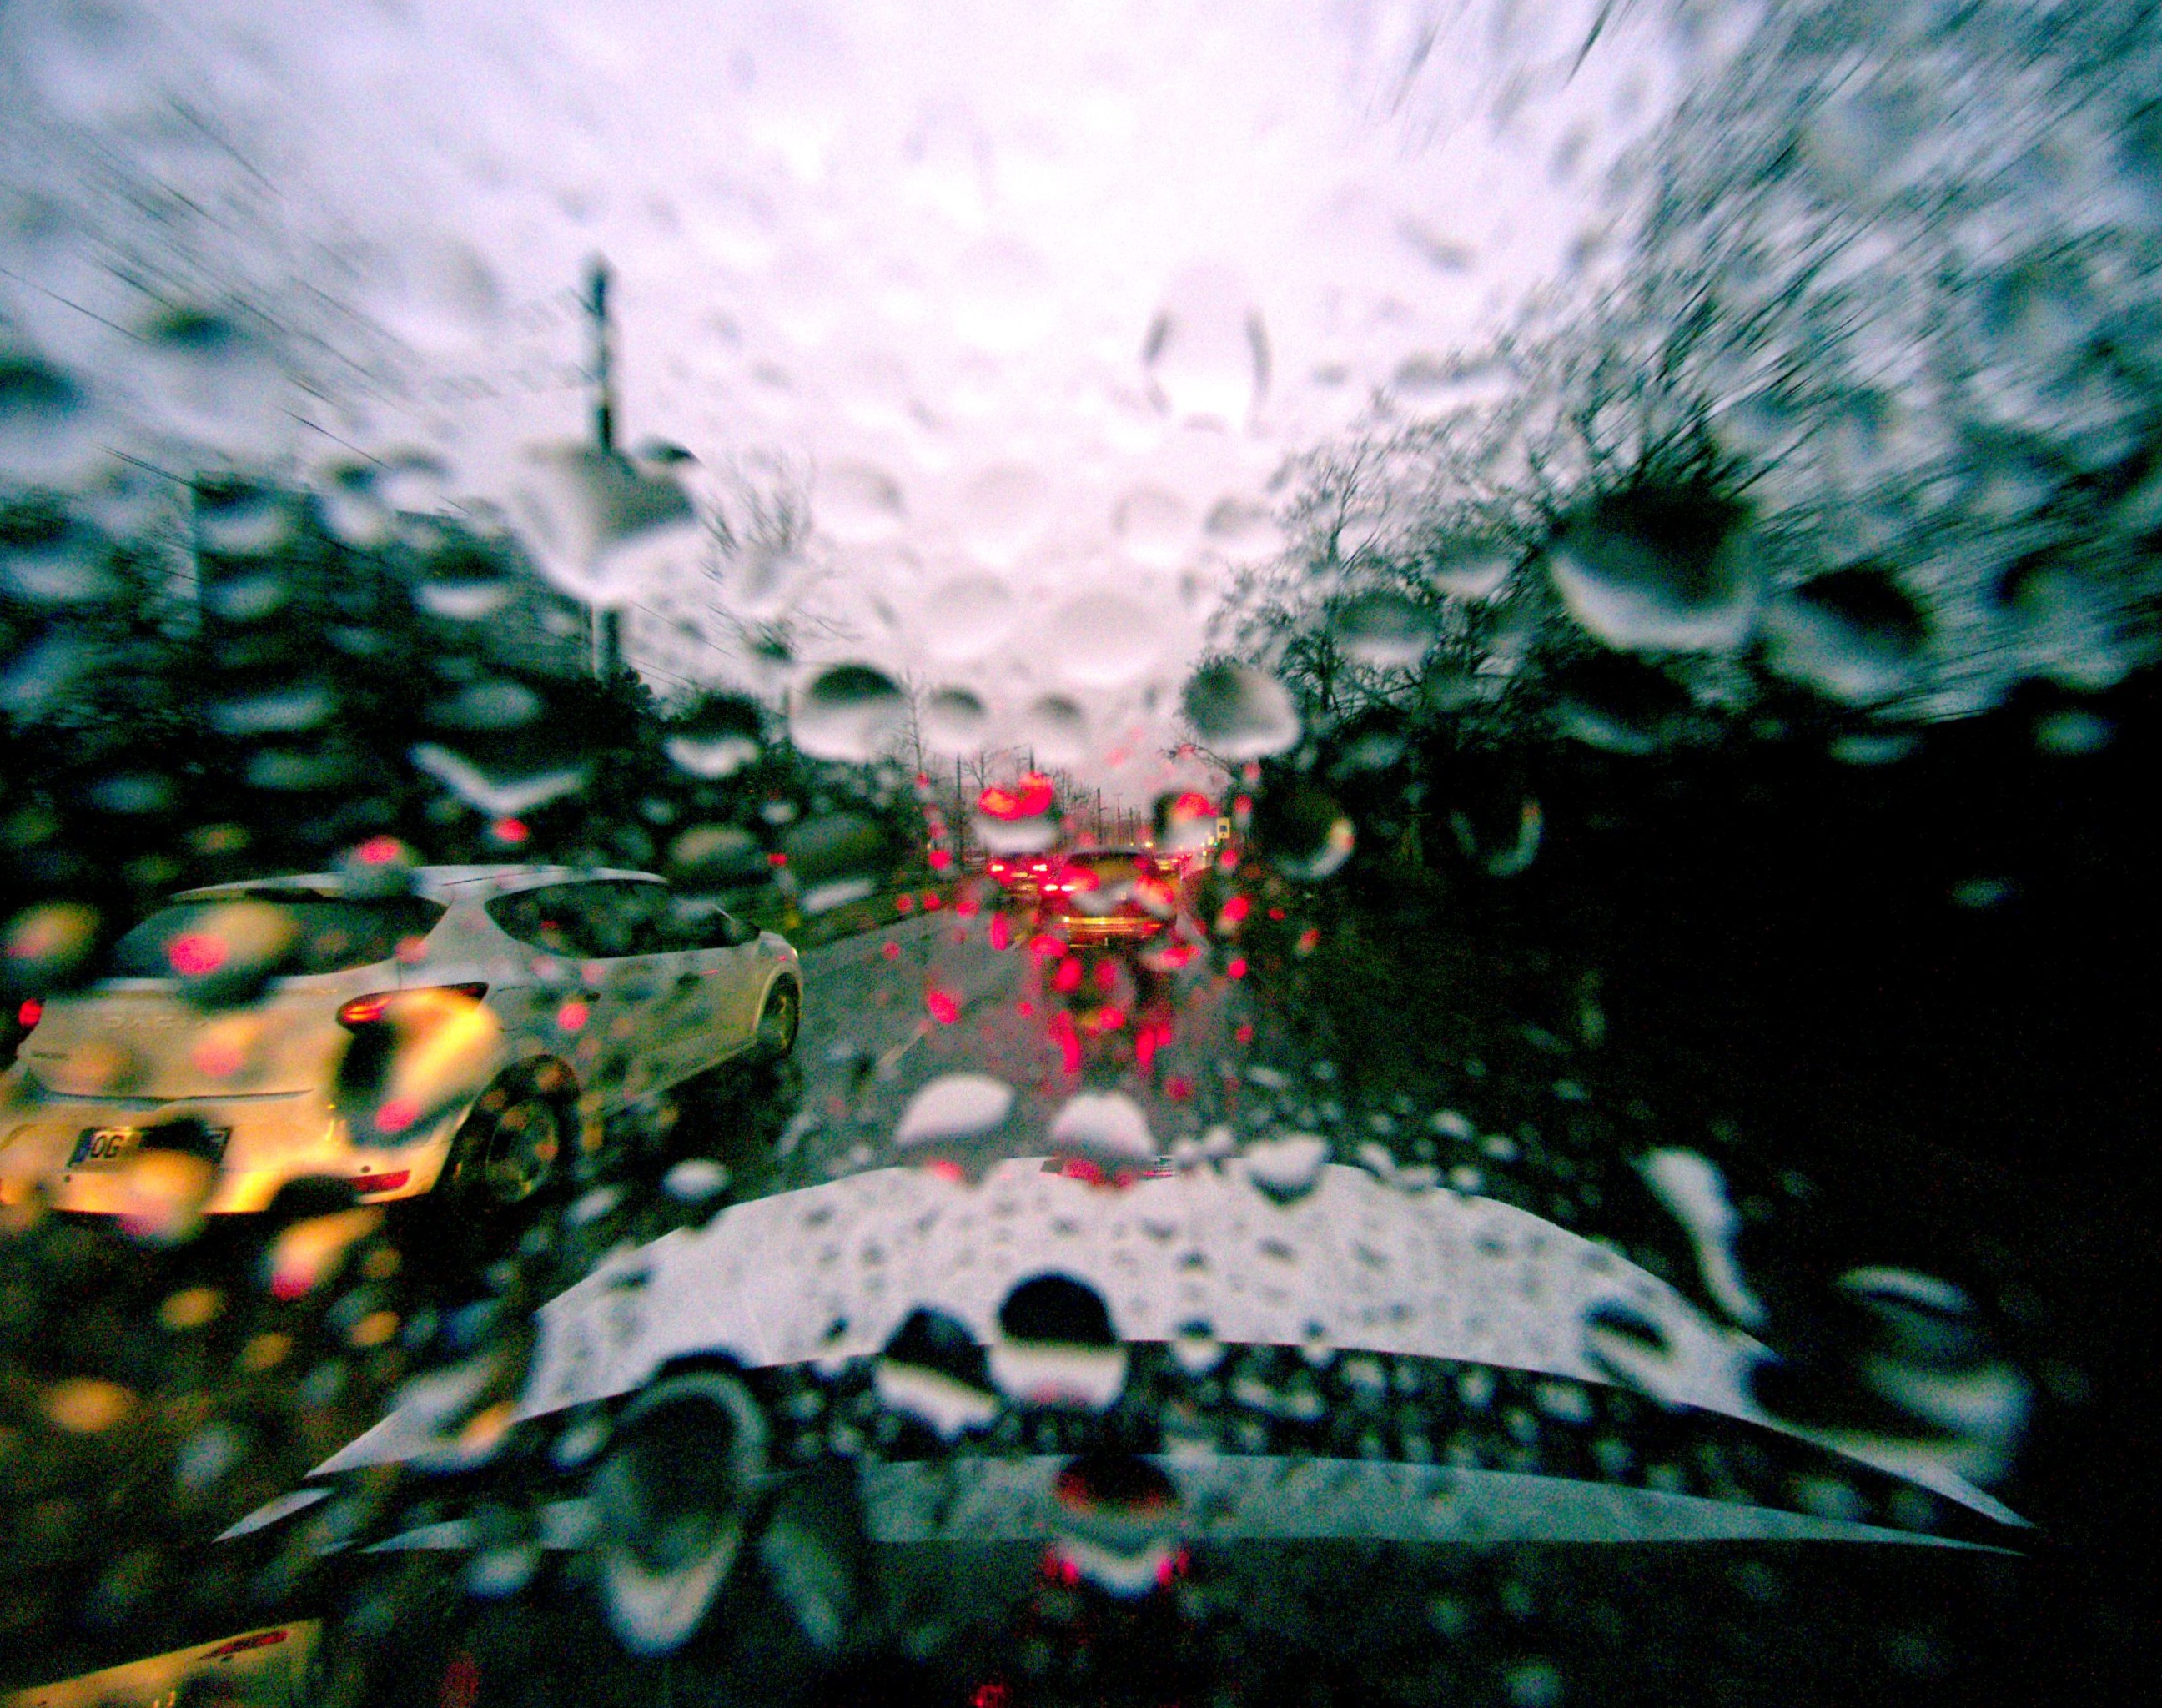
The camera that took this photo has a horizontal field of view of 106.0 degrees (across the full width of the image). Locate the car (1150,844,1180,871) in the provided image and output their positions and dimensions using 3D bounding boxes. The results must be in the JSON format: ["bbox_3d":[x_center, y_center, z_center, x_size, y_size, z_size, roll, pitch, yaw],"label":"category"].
[{"bbox_3d":[5.201,0.184,50.978,1.701,1.558,4.001,-2,0,4],"label":"car"}]

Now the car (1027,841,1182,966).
[{"bbox_3d":[0.333,0.629,12.569,1.991,1.584,4.000,-1,0,1],"label":"car"}]

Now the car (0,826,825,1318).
[{"bbox_3d":[-3.063,0.695,4.646,1.702,1.525,4.137,-2,0,2],"label":"car"}]

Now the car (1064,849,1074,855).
[{"bbox_3d":[-2.986,-0.489,200.578,1.982,1.658,4.009,-1,0,8],"label":"car"}]

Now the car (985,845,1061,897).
[{"bbox_3d":[-1.763,0.467,25.907,1.872,1.459,4.003,-2,1,3],"label":"car"}]
